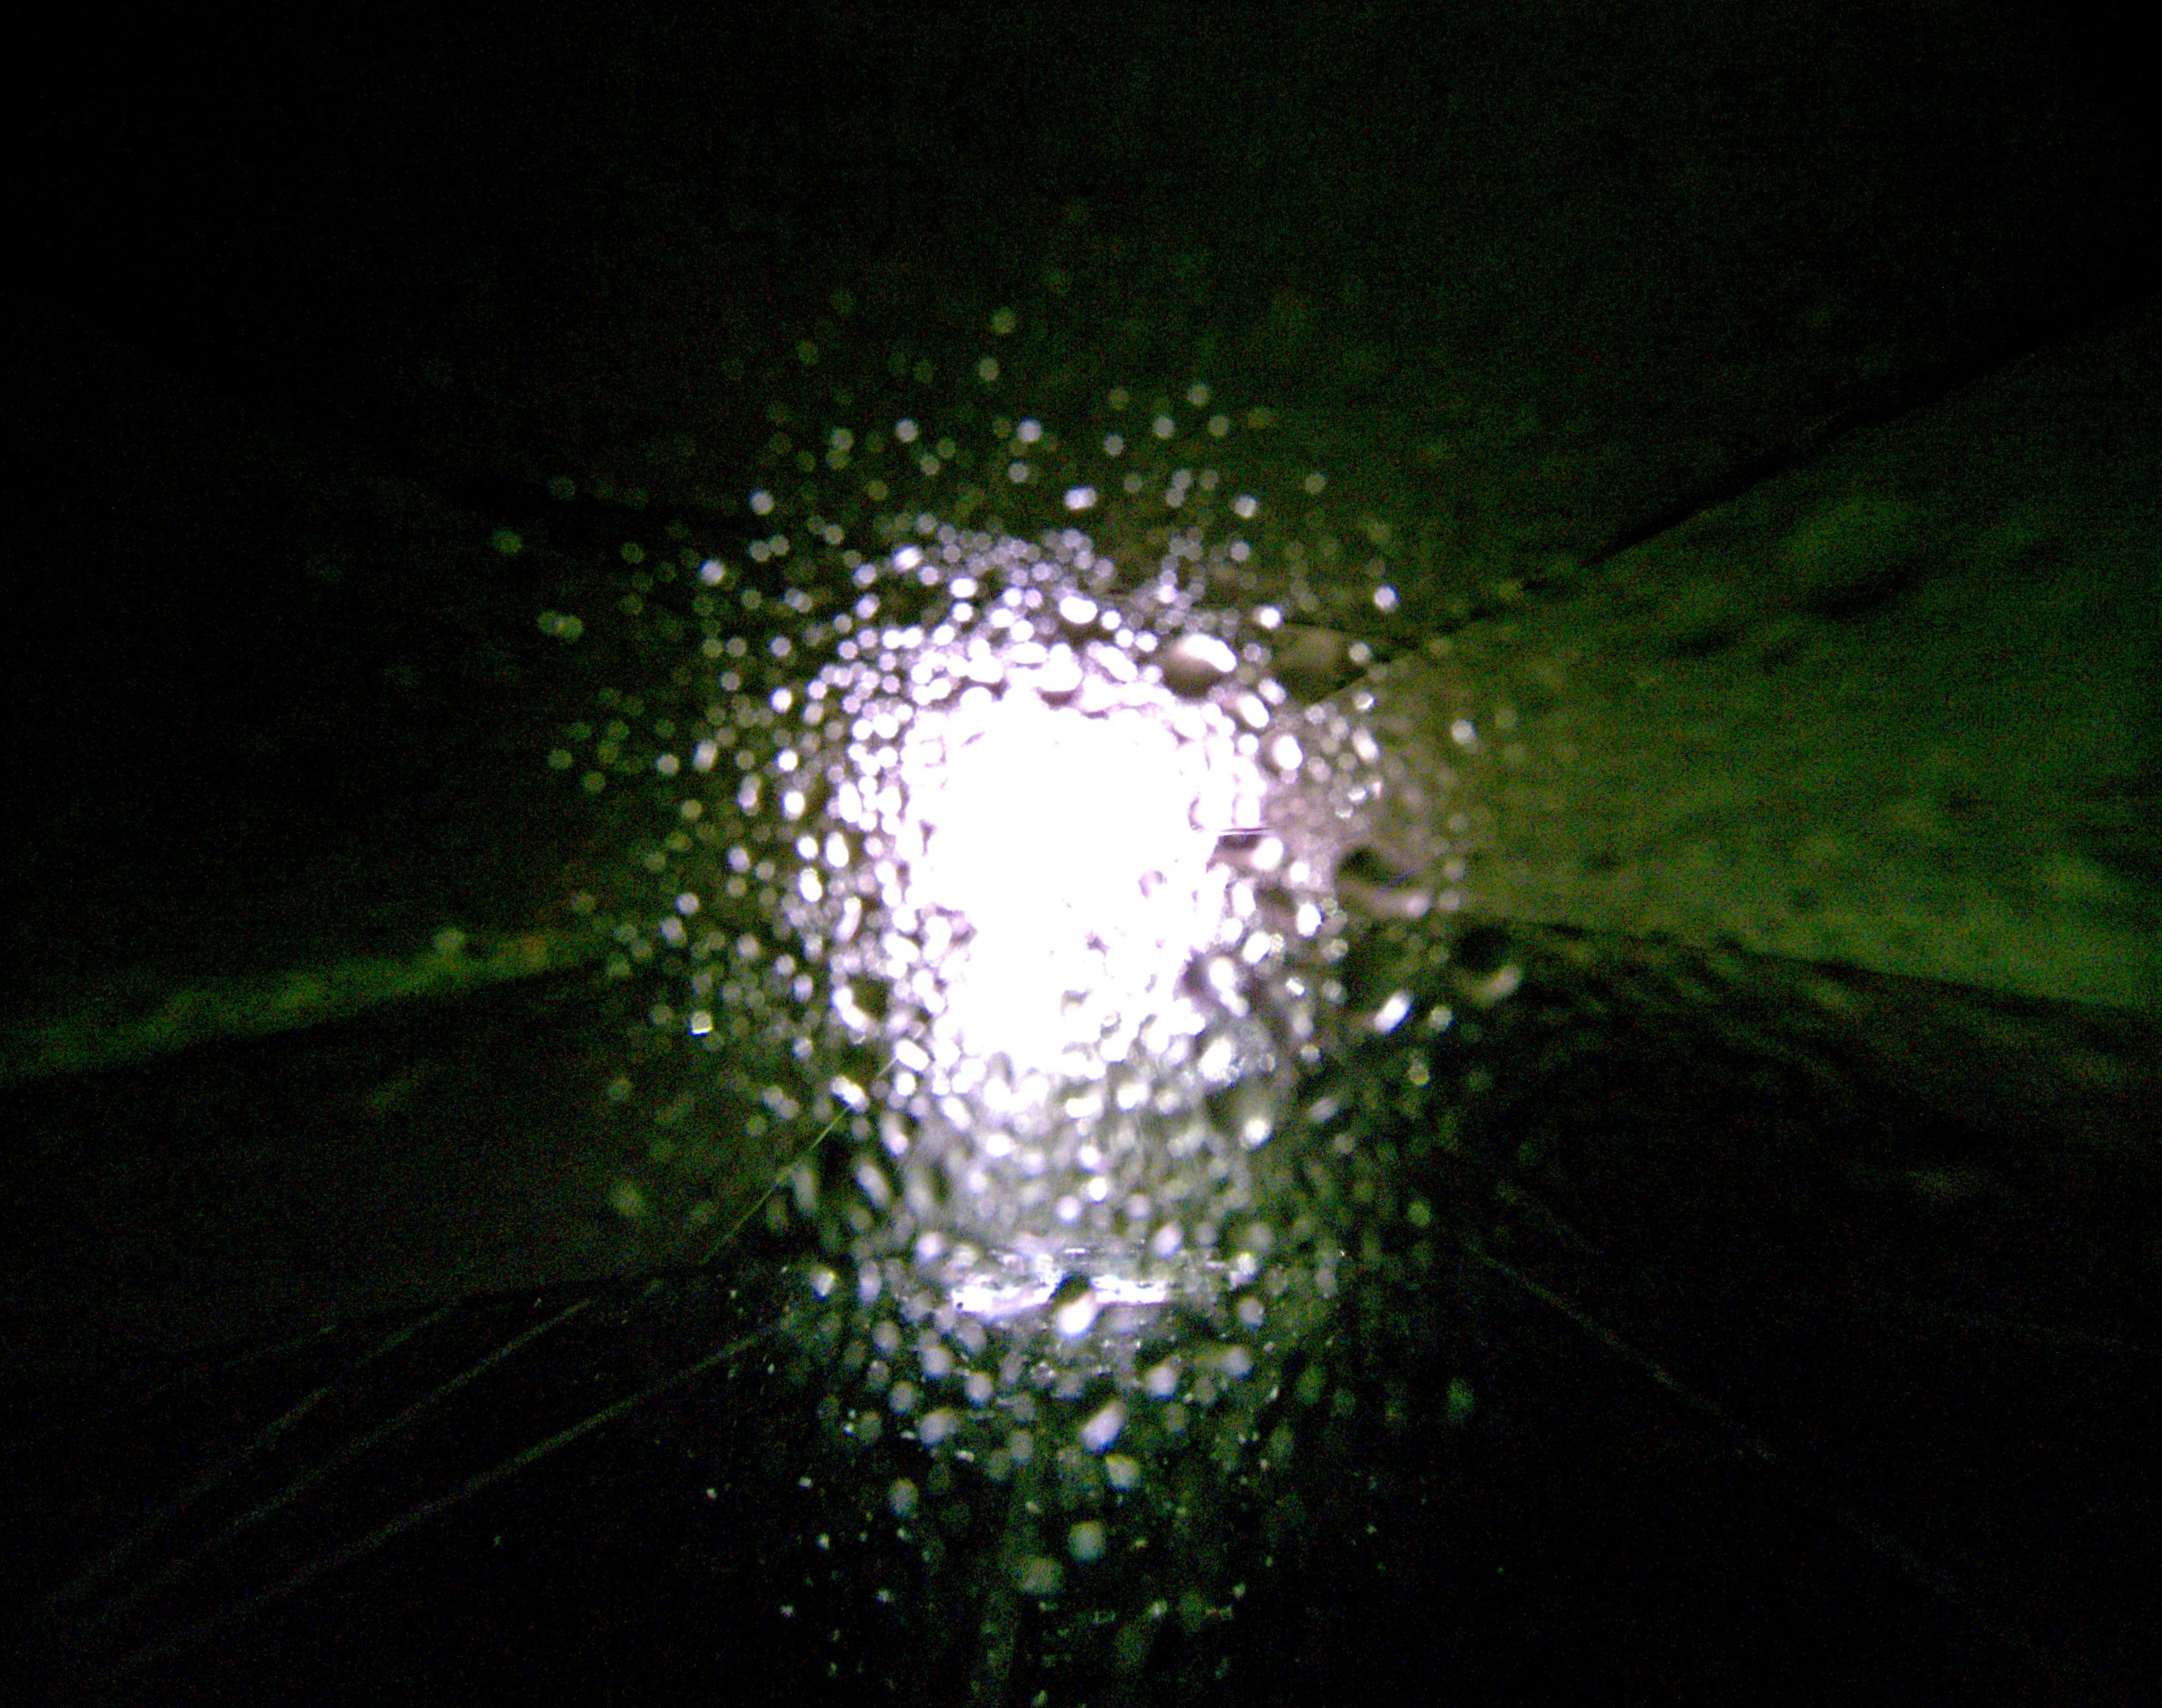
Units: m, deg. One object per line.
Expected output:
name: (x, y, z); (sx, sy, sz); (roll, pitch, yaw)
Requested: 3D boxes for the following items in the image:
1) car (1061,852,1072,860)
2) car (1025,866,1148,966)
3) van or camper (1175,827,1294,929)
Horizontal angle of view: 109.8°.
car: (-2.700, 0.349, 139.644); (1.695, 1.478, 4.071); (-1, 0, -4)
car: (0.013, 0.964, 13.564); (1.767, 1.316, 4.548); (-2, 0, -2)
van or camper: (3.563, 0.500, 18.558); (1.998, 2.086, 4.691); (-2, 0, 1)
